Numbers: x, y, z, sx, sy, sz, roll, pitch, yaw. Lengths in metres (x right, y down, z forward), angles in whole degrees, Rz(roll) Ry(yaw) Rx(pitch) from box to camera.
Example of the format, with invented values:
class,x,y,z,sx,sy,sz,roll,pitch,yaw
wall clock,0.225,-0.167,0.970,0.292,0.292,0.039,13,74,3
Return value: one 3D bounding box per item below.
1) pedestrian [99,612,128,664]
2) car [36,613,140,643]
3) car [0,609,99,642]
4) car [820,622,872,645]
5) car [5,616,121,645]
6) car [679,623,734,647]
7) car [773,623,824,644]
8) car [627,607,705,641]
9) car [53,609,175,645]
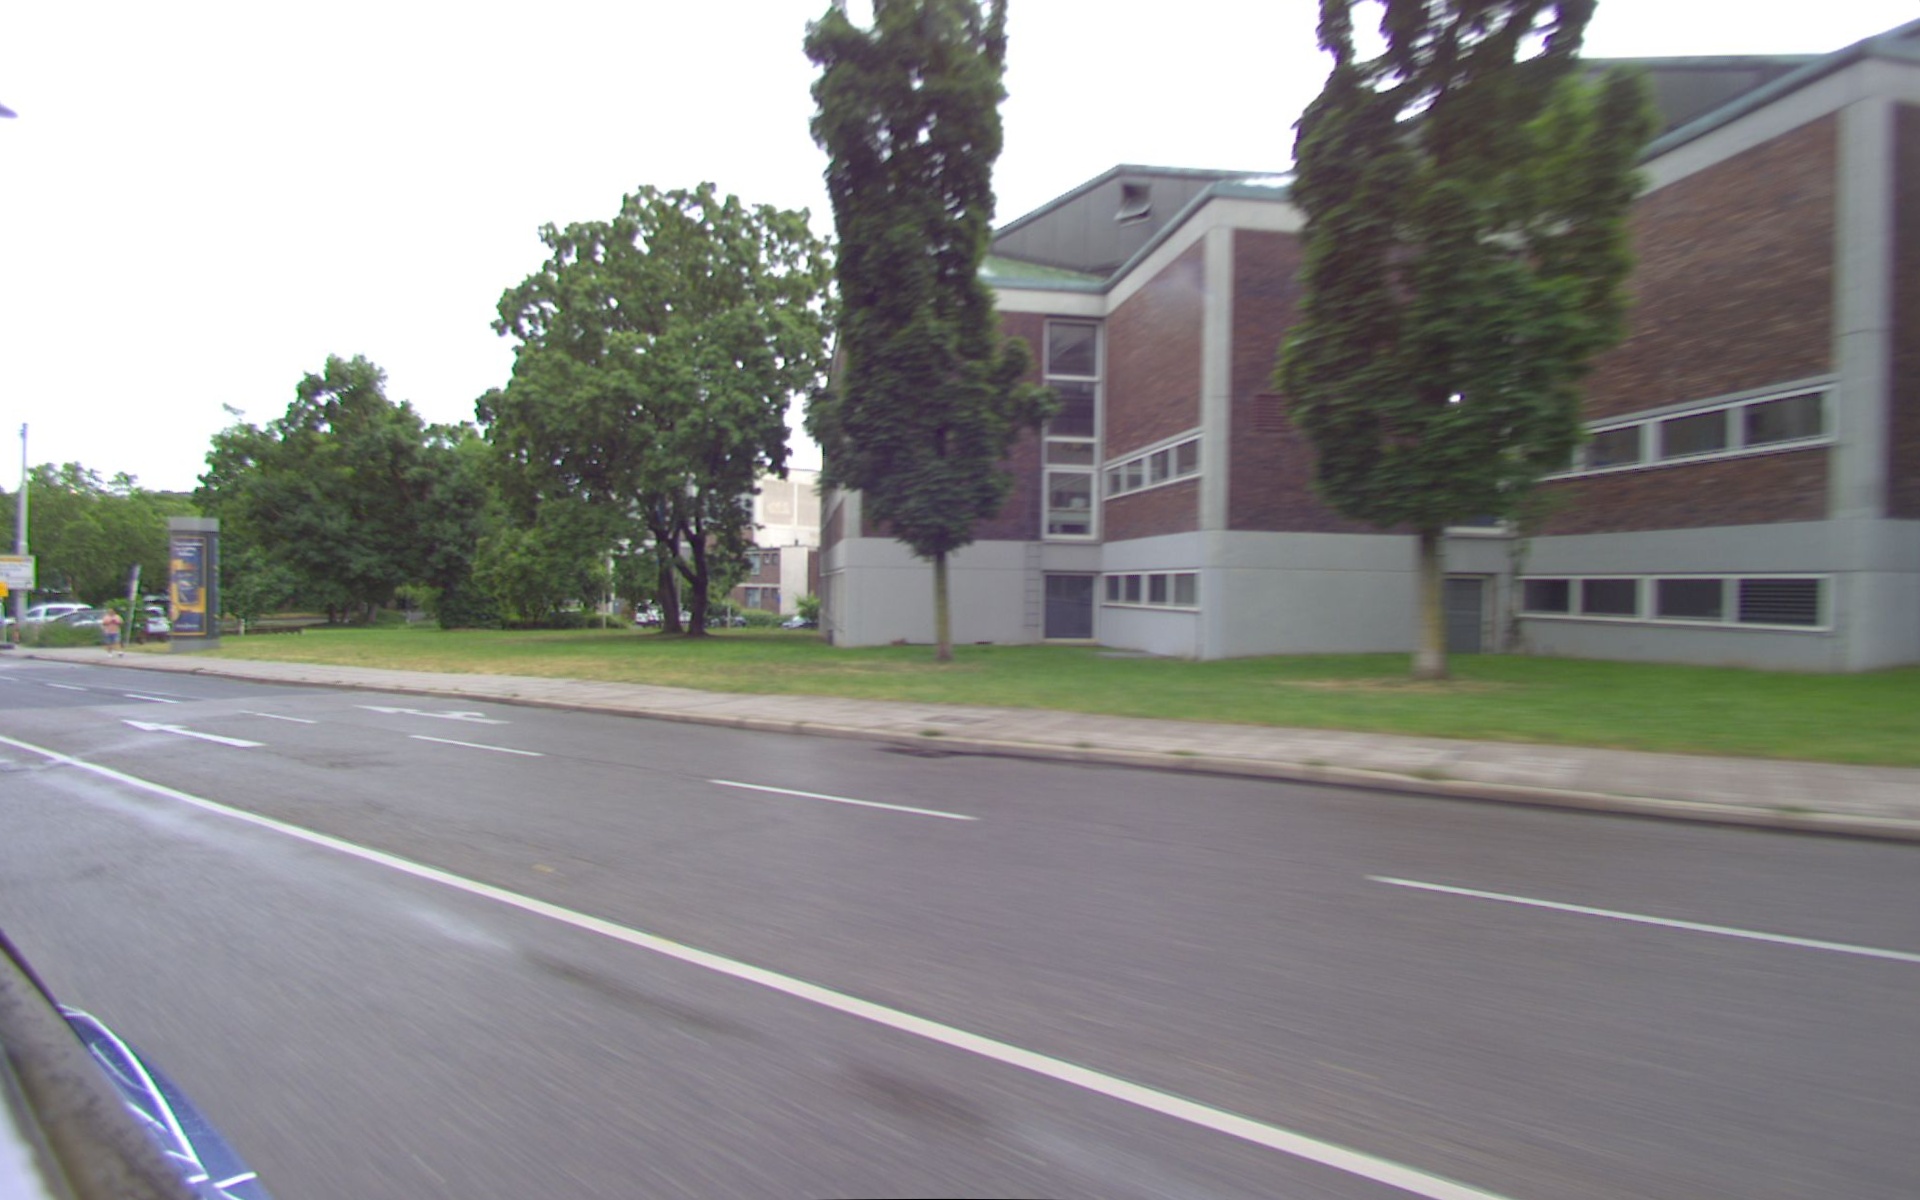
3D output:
class,x,y,z,sx,sy,sz,roll,pitch,yaw
pedestrian,-28.831,1.273,34.464,0.913,1.699,0.662,0,1,44
car,-44.153,1.397,51.305,3.536,1.359,1.848,-1,1,-15
car,-54.071,1.498,59.680,4.645,1.768,2.021,-1,1,-12
car,-8.539,2.462,76.132,1.793,1.530,3.955,0,1,33
car,-48.398,1.621,54.721,4.304,1.359,1.911,-1,1,-24
car,-20.806,2.863,83.147,1.996,1.763,3.951,-2,0,36
car,-12.548,2.568,78.640,1.778,1.385,3.891,0,1,33
car,-25.937,2.053,89.394,2.737,2.782,6.131,0,1,40
car,-40.991,1.284,49.086,4.466,1.621,1.867,-1,1,3
